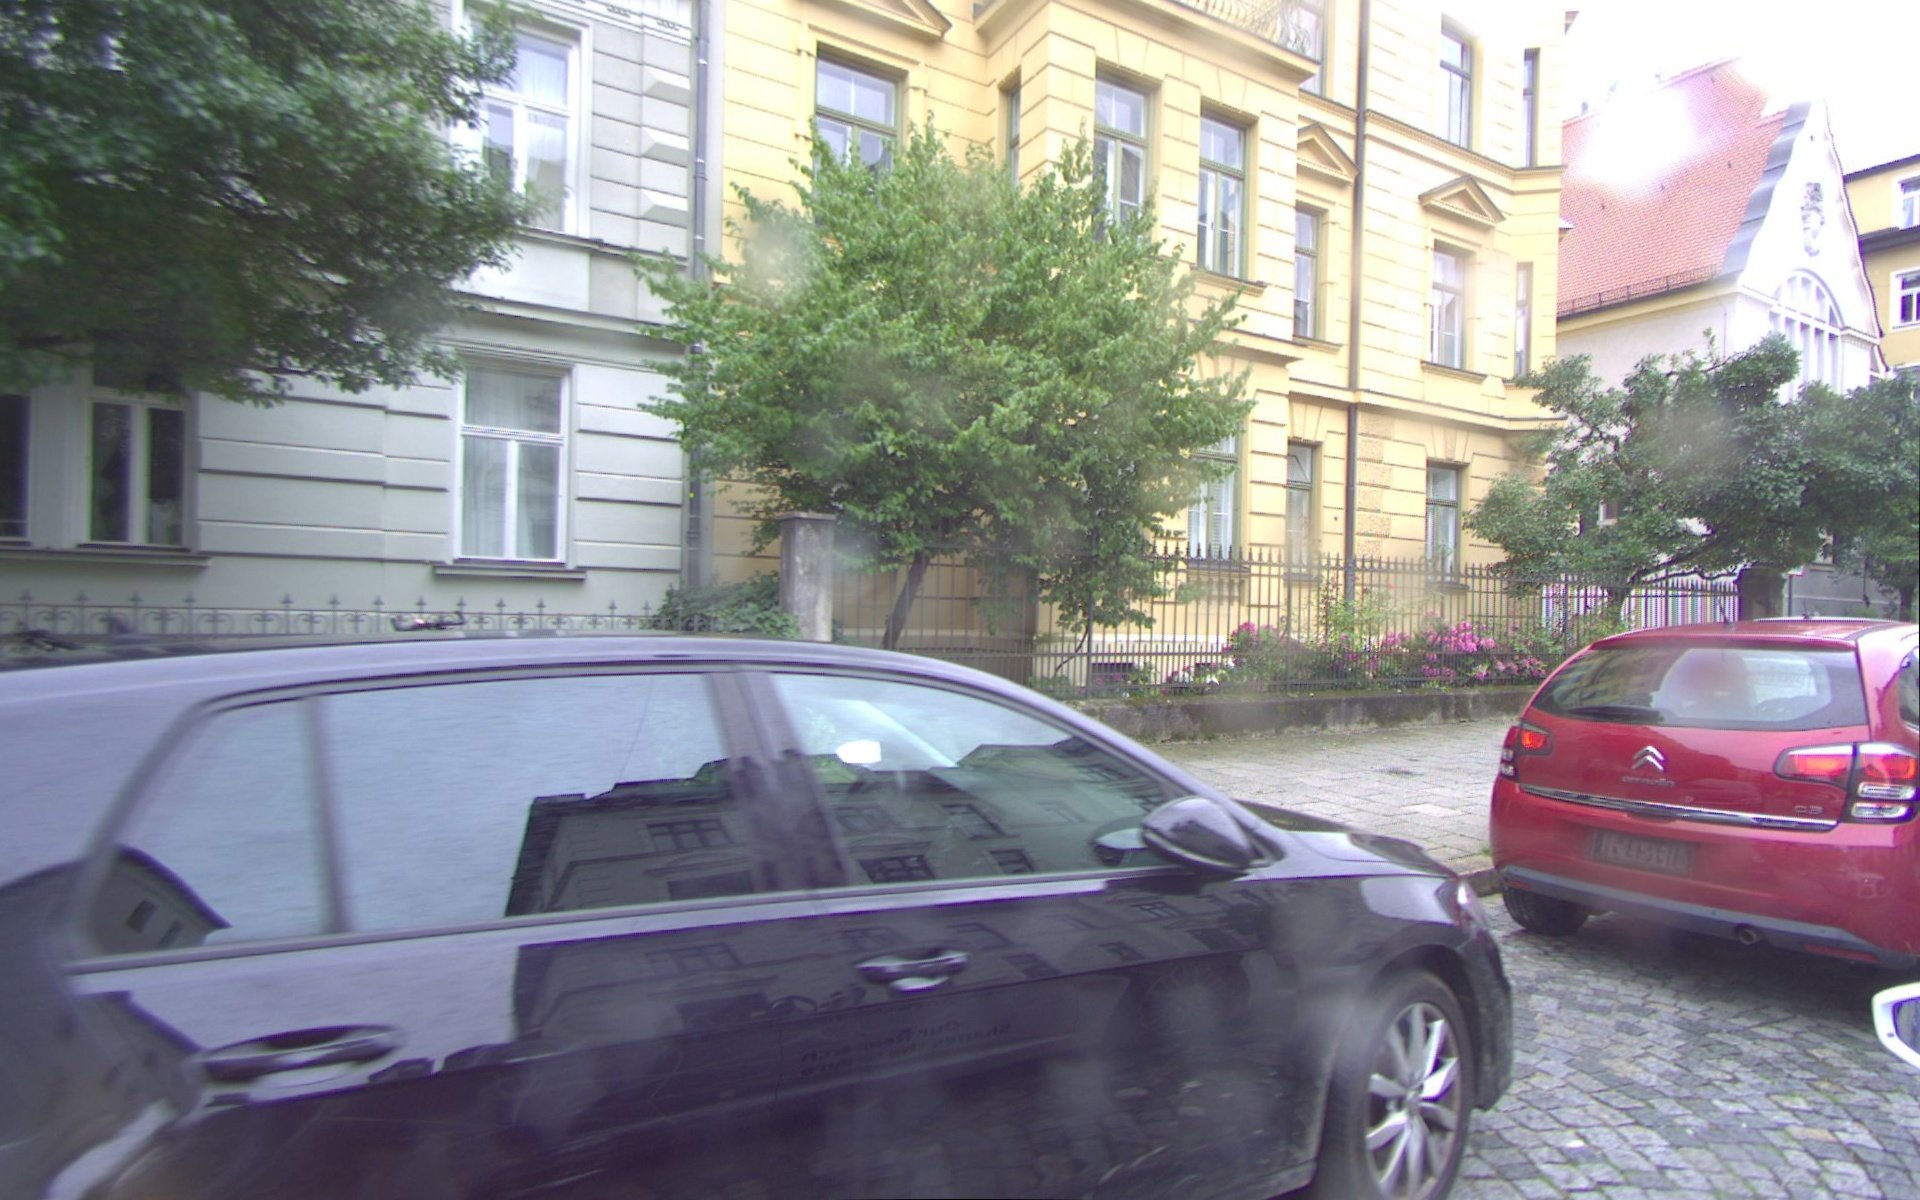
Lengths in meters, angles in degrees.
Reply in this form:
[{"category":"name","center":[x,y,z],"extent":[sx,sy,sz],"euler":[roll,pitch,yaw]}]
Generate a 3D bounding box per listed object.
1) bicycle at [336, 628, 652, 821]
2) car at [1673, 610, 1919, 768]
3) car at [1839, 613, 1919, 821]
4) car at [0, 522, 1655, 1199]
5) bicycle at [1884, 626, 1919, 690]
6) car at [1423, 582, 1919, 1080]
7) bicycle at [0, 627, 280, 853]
[{"category":"bicycle","center":[-2.912,0.746,6.378],"extent":[1.739,1.065,0.471],"euler":[2,3,-30]},{"category":"car","center":[10.452,0.926,11.712],"extent":[4.338,1.485,1.833],"euler":[2,1,-30]},{"category":"car","center":[9.267,0.892,8.127],"extent":[5.076,1.489,1.860],"euler":[2,-2,-32]},{"category":"car","center":[-0.416,0.765,2.511],"extent":[4.590,1.529,1.809],"euler":[2,-4,-31]},{"category":"bicycle","center":[20.215,1.200,21.100],"extent":[2.036,1.275,0.603],"euler":[1,0,-30]},{"category":"car","center":[4.426,0.808,5.073],"extent":[4.145,1.607,1.831],"euler":[2,-2,-32]},{"category":"bicycle","center":[-4.743,0.722,5.381],"extent":[1.769,1.113,0.431],"euler":[2,3,-30]}]
